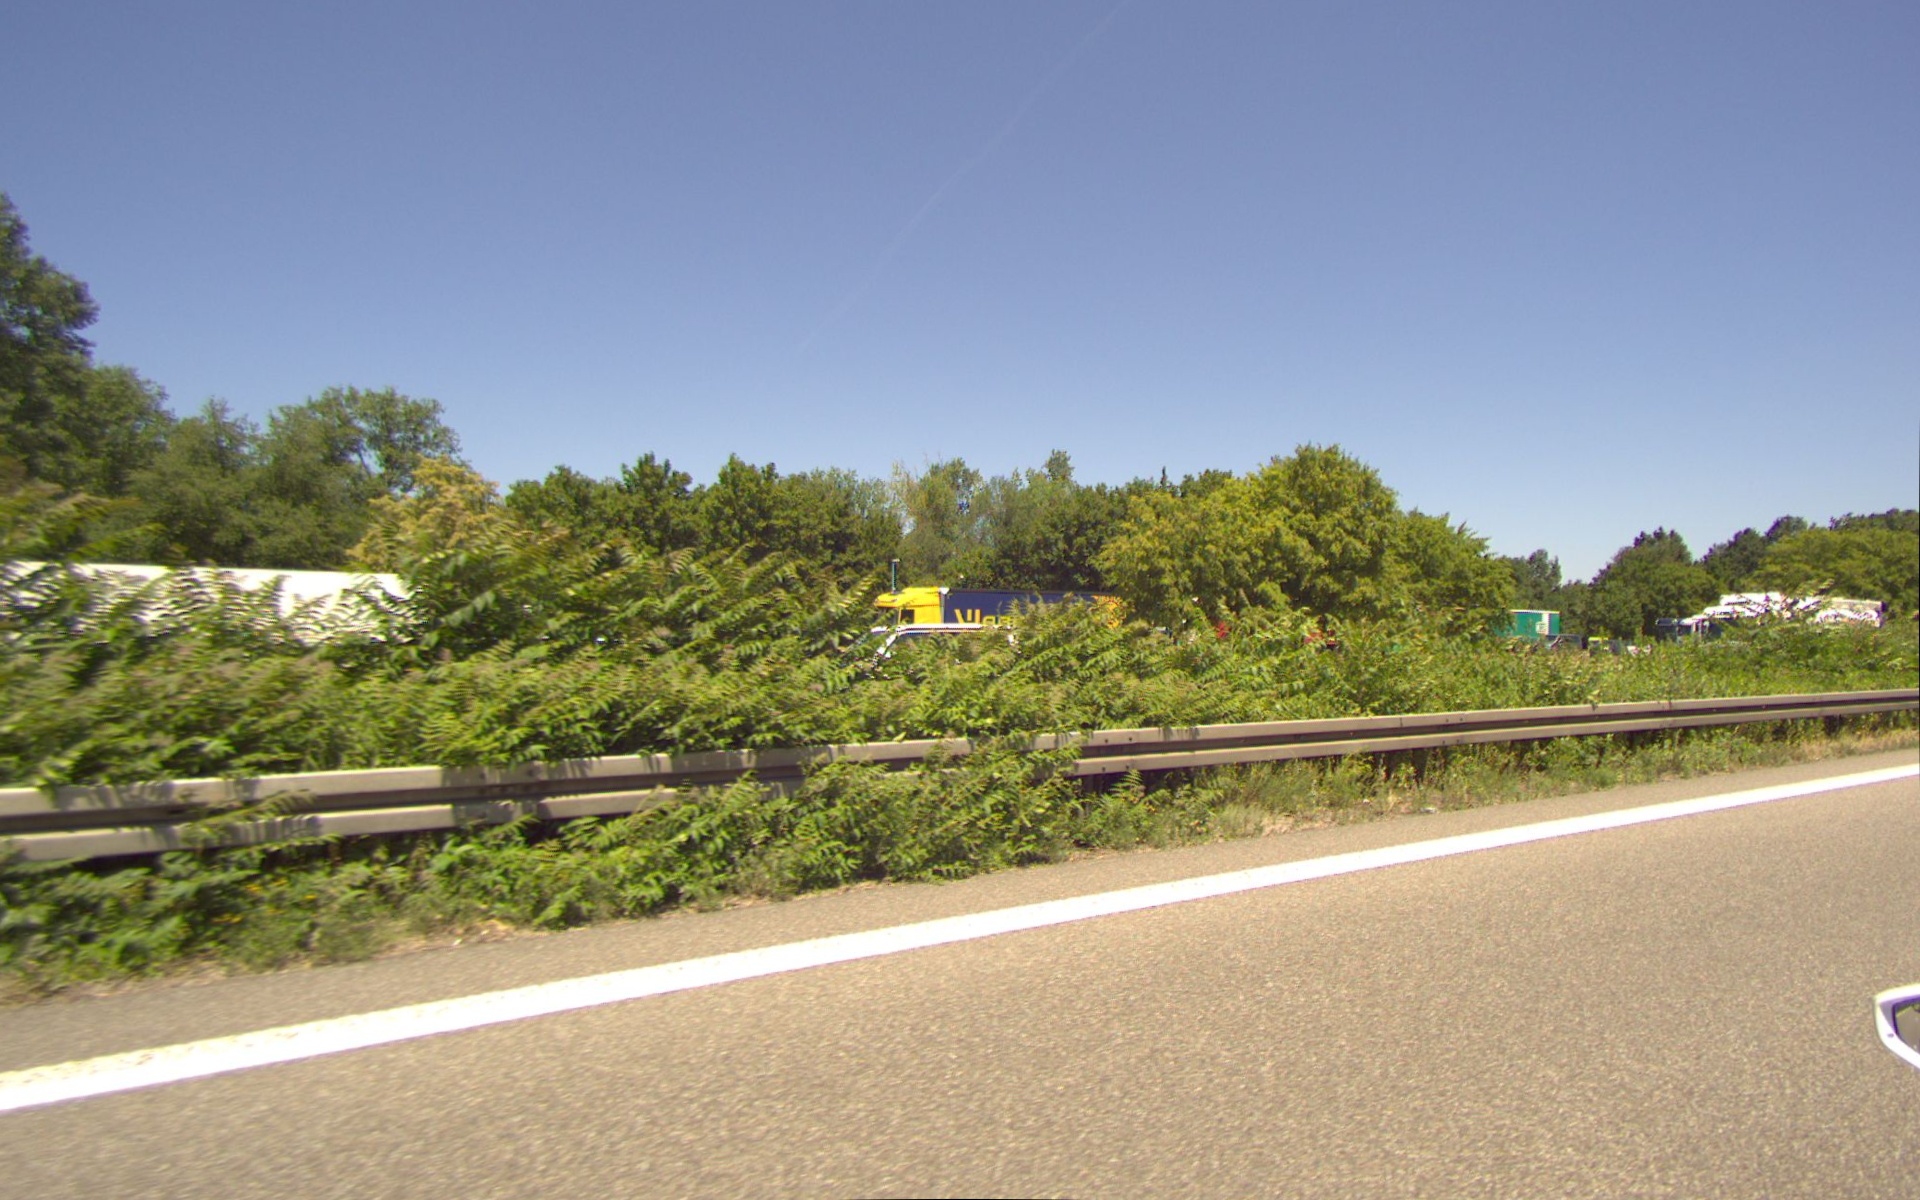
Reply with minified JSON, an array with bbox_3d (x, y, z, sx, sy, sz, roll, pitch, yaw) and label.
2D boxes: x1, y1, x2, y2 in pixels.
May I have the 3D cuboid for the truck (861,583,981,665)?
[{"bbox_3d":[-1.936,1.264,51.457,5.814,3.976,2.434,2,-2,-37],"label":"truck"}]

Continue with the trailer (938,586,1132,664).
[{"bbox_3d":[4.464,1.464,56.254,12.373,4.005,2.434,2,-2,-37],"label":"trailer"}]

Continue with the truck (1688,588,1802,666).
[{"bbox_3d":[33.101,1.127,42.371,4.345,3.120,2.335,1,0,-30],"label":"truck"}]

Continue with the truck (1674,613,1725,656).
[{"bbox_3d":[67.938,3.183,92.313,3.749,3.921,2.249,1,-2,-24],"label":"truck"}]

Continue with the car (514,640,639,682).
[{"bbox_3d":[-15.634,2.458,41.020,4.388,1.601,1.979,2,-2,-38],"label":"car"}]

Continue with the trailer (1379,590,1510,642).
[{"bbox_3d":[38.098,1.339,78.648,13.429,3.777,1.985,2,-1,-29],"label":"trailer"}]

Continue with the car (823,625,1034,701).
[{"bbox_3d":[-0.644,1.312,21.658,4.224,1.484,1.831,2,-2,-32],"label":"car"}]

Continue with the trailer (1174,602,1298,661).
[{"bbox_3d":[18.405,2.115,66.567,9.517,3.663,2.439,2,-2,-35],"label":"trailer"}]

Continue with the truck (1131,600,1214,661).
[{"bbox_3d":[13.355,1.934,63.033,4.949,3.663,2.439,2,-2,-35],"label":"truck"}]

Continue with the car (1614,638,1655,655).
[{"bbox_3d":[60.670,4.185,90.292,3.686,1.448,1.467,1,-1,-27],"label":"car"}]

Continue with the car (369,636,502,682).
[{"bbox_3d":[-19.422,2.157,37.270,3.973,1.601,1.974,2,-3,-44],"label":"car"}]

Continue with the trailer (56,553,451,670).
[{"bbox_3d":[-27.330,0.599,39.809,12.510,4.023,2.586,2,-2,-42],"label":"trailer"}]

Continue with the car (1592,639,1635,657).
[{"bbox_3d":[56.636,4.149,87.052,3.686,1.448,1.550,1,-2,-27],"label":"car"}]

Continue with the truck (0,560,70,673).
[{"bbox_3d":[-33.513,0.562,34.223,4.656,3.818,2.587,2,-2,-42],"label":"truck"}]

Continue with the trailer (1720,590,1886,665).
[{"bbox_3d":[38.252,1.266,45.423,10.524,3.131,2.360,1,0,-30],"label":"trailer"}]

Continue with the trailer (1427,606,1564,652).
[{"bbox_3d":[50.122,2.773,93.766,14.704,4.047,2.958,1,-1,-25],"label":"trailer"}]

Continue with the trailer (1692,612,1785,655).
[{"bbox_3d":[73.619,3.230,94.922,10.558,3.921,2.284,1,-2,-25],"label":"trailer"}]
